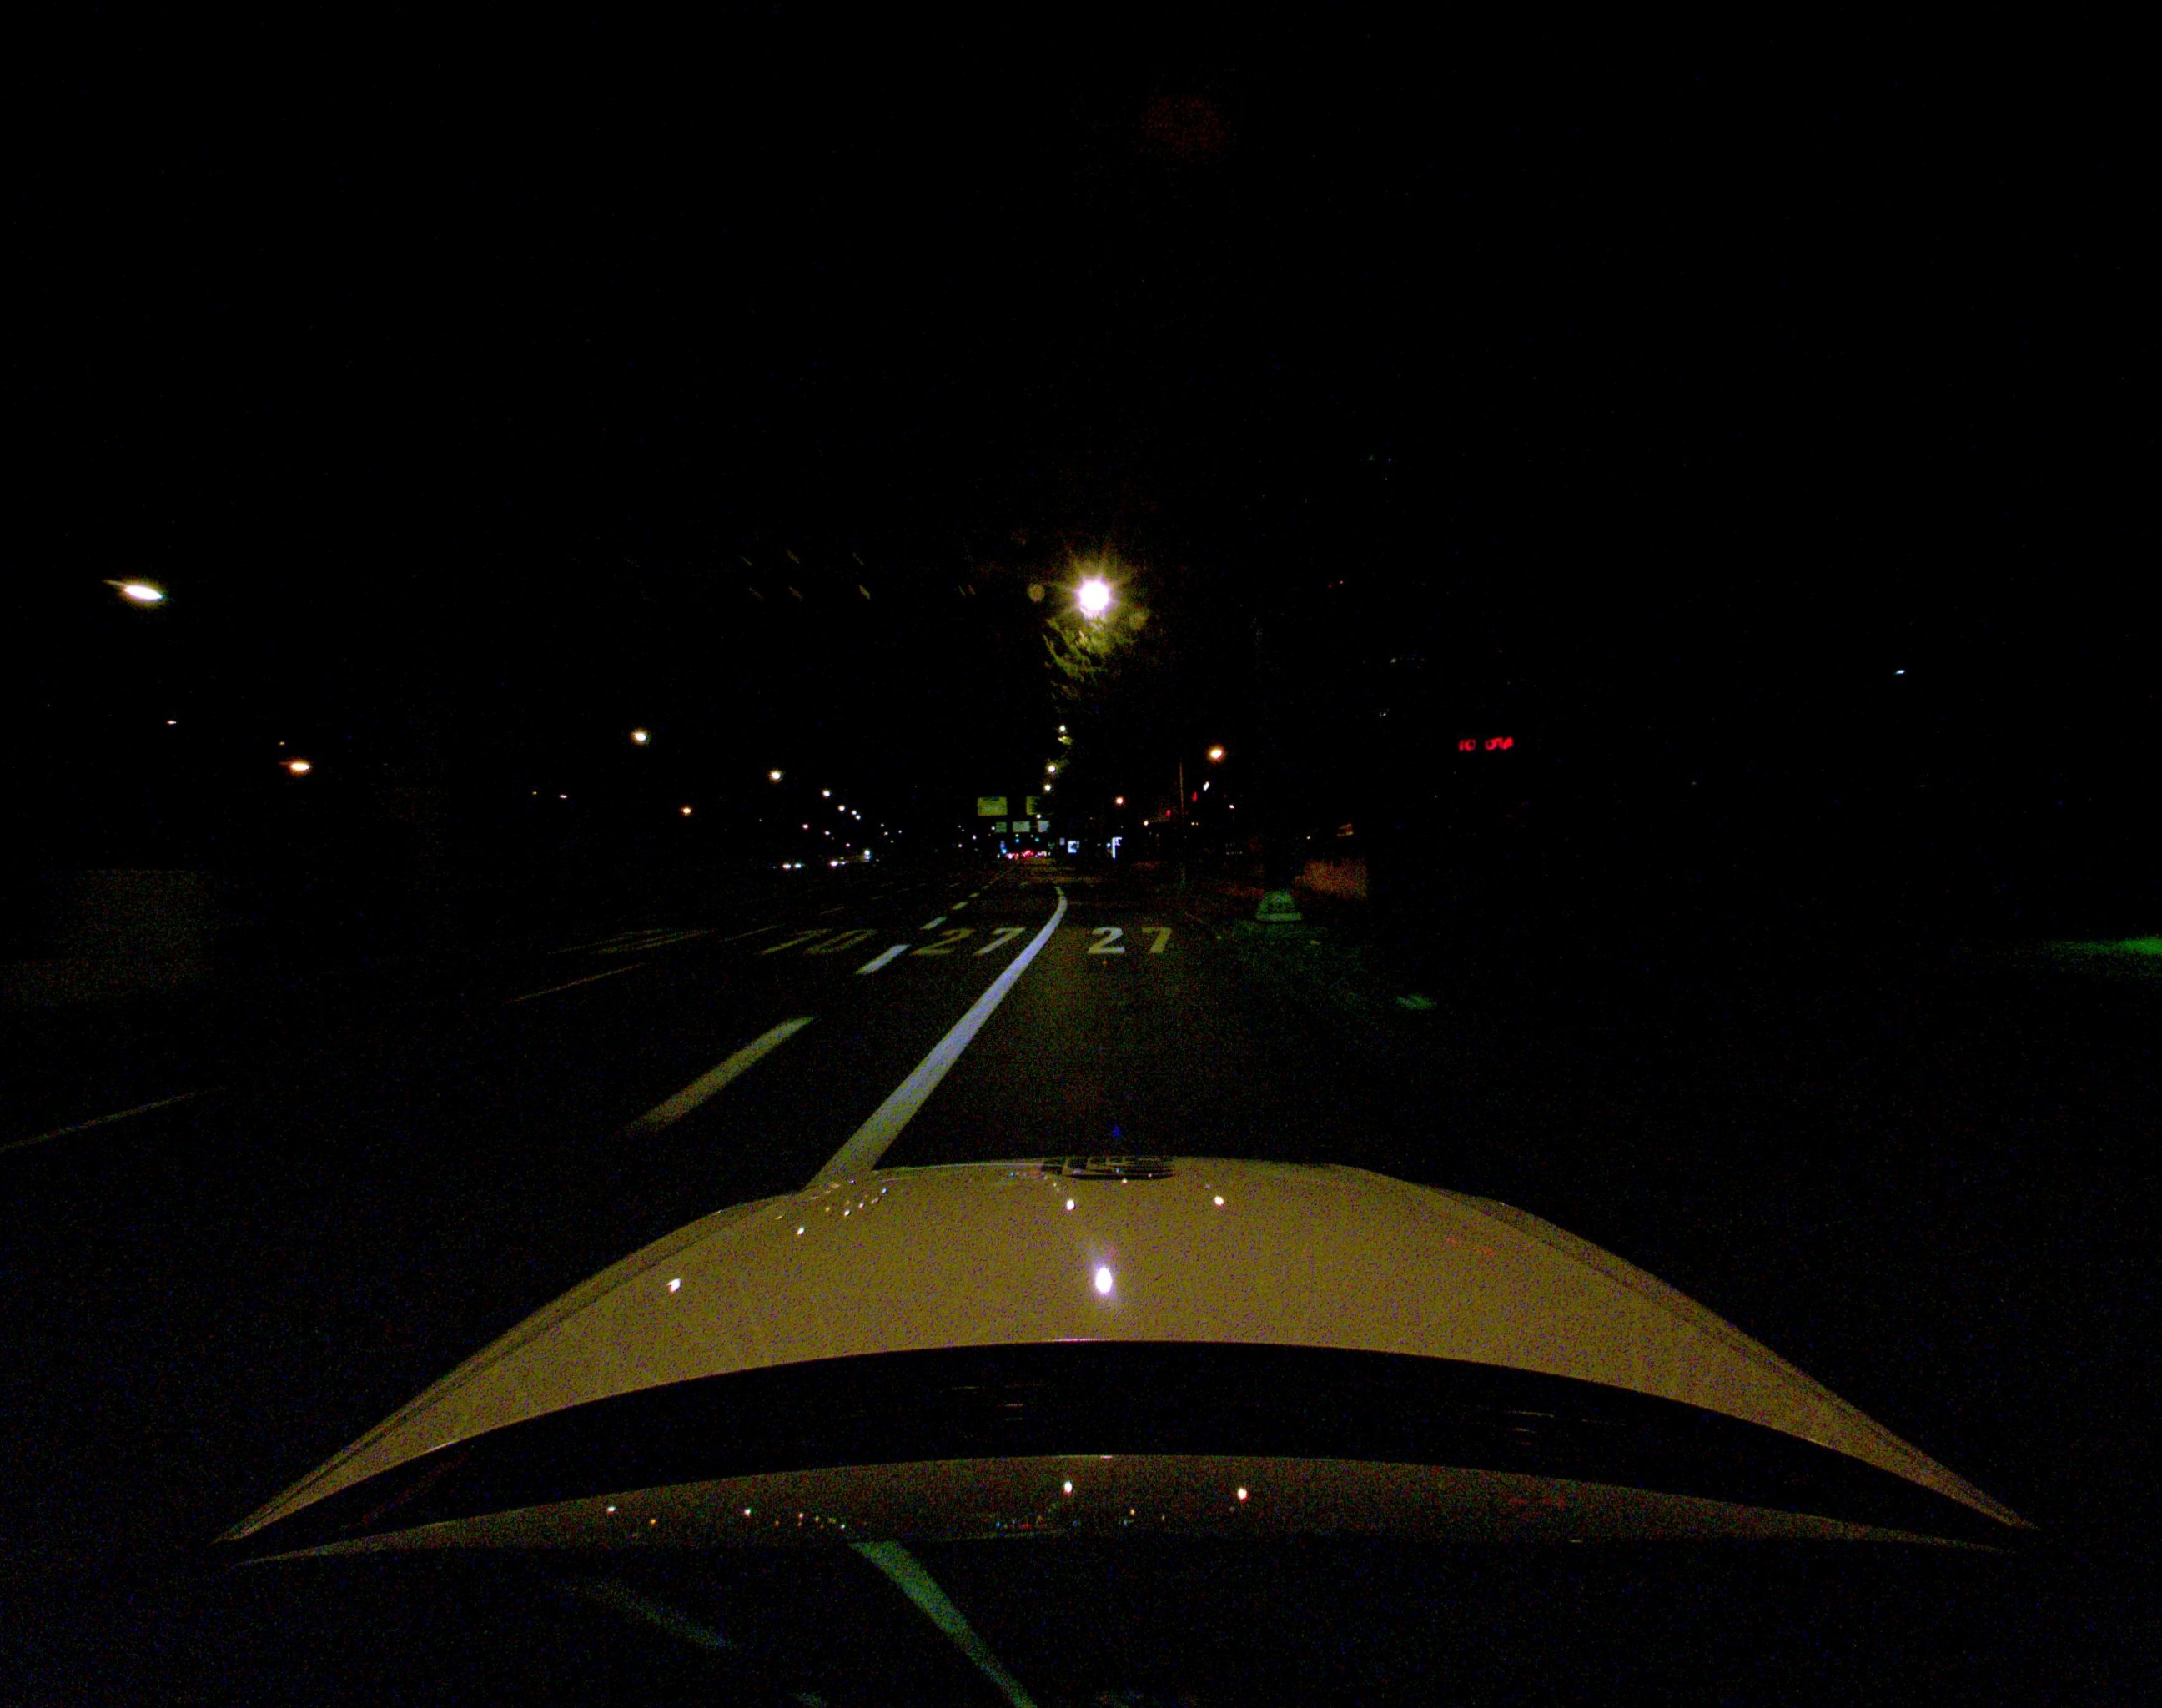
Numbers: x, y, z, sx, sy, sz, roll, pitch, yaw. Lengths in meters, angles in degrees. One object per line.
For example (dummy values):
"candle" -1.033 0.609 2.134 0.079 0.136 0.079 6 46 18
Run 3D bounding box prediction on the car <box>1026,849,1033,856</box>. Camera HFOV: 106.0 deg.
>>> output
"car" -15.442 -0.395 242.689 1.989 2.014 3.994 0 -2 -4

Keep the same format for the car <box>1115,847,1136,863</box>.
"car" 5.781 0.128 106.032 1.979 1.945 4.015 0 -2 14

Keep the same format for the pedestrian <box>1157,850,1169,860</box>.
"pedestrian" 8.407 0.126 83.844 0.902 1.038 0.776 -3 -1 40

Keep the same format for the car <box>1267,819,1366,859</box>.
"car" 10.304 -0.643 35.761 3.719 1.489 1.739 -3 -2 -5

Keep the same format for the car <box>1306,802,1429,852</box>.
"car" 10.774 -0.987 30.814 3.977 1.571 1.737 -3 -1 -2

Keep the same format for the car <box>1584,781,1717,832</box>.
"car" 25.052 -2.076 35.910 4.571 1.910 1.995 -3 -1 -7

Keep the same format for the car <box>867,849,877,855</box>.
"car" -53.431 -0.556 208.431 1.621 1.481 3.675 0 -1 -3

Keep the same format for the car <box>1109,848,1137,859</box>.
"car" 5.729 -0.058 111.017 3.621 1.451 1.703 0 -2 -7

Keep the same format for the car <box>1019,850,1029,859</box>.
"car" -11.446 0.185 163.574 1.962 1.711 3.997 0 -1 -1

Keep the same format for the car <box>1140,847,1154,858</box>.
"car" 9.169 -0.182 112.978 1.884 1.511 3.639 0 -1 3

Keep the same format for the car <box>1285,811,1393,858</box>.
"car" 10.529 -0.777 33.371 3.741 1.587 1.777 -4 -2 -5

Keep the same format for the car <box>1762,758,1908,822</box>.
"car" 27.317 -2.306 29.570 3.805 1.895 1.748 -4 -1 -7

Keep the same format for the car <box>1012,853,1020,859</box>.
"car" -17.377 0.575 218.633 1.999 1.552 4.292 0 -1 -1

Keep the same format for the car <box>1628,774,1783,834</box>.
"car" 20.056 -1.581 26.263 3.629 1.470 1.637 -5 -2 0

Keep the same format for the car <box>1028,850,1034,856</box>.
"car" -15.171 -0.336 249.168 1.777 1.728 3.994 0 -1 -4

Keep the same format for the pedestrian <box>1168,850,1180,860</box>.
"pedestrian" 9.602 0.122 83.874 1.001 1.008 0.766 1 -2 -19

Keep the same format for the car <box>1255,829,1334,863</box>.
"car" 11.032 -0.413 41.960 3.859 1.490 1.721 -3 -3 -34

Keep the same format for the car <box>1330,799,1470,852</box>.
"car" 11.080 -0.983 28.463 4.109 1.522 1.821 -3 -2 -2

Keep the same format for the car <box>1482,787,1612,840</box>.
"car" 19.513 -1.673 34.195 4.347 1.725 1.750 -5 -1 -1

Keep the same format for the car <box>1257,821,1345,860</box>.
"car" 10.396 -0.637 38.606 3.560 1.570 1.722 -3 -1 -8
